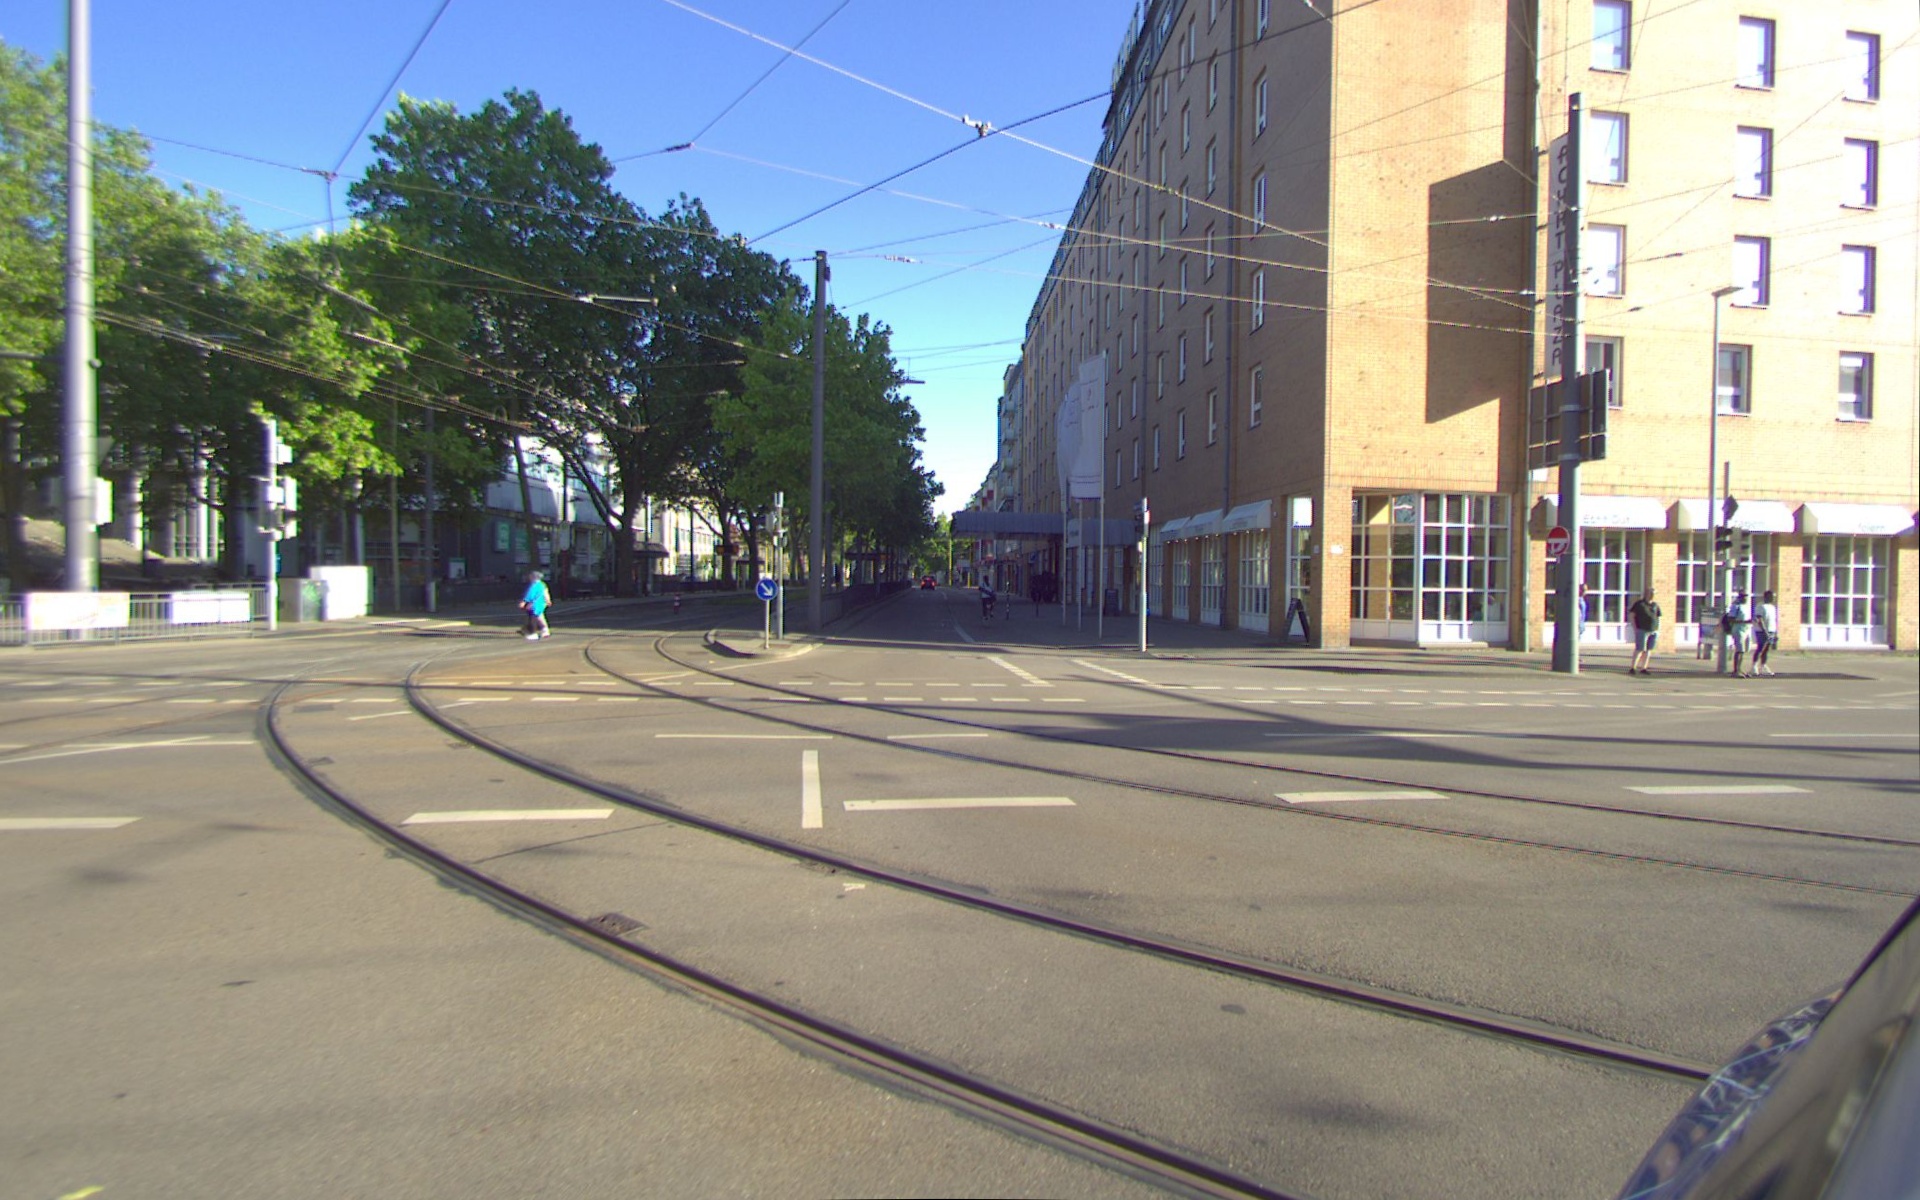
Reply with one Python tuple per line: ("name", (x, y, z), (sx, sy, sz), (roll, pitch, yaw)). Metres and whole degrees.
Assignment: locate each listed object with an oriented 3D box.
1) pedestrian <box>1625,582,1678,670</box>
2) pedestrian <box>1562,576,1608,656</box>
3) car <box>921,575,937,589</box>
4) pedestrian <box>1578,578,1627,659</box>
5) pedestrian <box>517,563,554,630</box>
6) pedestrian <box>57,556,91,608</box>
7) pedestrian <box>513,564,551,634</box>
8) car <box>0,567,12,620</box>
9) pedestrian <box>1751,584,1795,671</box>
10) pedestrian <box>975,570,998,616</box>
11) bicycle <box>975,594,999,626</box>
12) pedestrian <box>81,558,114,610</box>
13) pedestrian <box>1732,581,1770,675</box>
("pedestrian", (14.233, 0.517, 20.841), (0.681, 1.790, 0.574), (0, 0, 0))
("pedestrian", (13.947, 0.353, 22.594), (0.590, 1.749, 0.604), (-1, 0, -7))
("car", (-3.908, -2.256, 127.828), (1.890, 1.690, 3.757), (1, 1, 0))
("pedestrian", (13.945, 0.402, 21.982), (0.645, 1.725, 0.564), (-1, 0, -7))
("pedestrian", (-10.093, -0.091, 24.062), (0.727, 1.559, 0.653), (-1, 0, -17))
("pedestrian", (-31.205, -0.635, 35.646), (0.629, 1.798, 0.618), (-1, 1, -9))
("pedestrian", (-9.841, -0.026, 23.291), (0.727, 1.559, 0.678), (-1, 0, -17))
("car", (-27.968, -0.152, 26.902), (1.960, 1.505, 4.004), (-1, 0, -5))
("pedestrian", (17.093, 0.572, 21.294), (0.571, 1.795, 0.403), (0, 3, 18))
("pedestrian", (0.935, -0.251, 35.701), (0.758, 1.614, 0.838), (-1, 0, 2))
("bicycle", (0.939, 0.325, 35.576), (0.777, 1.065, 1.922), (-1, 0, 1))
("pedestrian", (-30.544, -0.573, 35.842), (0.629, 1.798, 0.618), (-1, 1, -9))
("pedestrian", (16.304, 0.556, 20.854), (0.721, 1.855, 0.497), (-3, 4, -44))
